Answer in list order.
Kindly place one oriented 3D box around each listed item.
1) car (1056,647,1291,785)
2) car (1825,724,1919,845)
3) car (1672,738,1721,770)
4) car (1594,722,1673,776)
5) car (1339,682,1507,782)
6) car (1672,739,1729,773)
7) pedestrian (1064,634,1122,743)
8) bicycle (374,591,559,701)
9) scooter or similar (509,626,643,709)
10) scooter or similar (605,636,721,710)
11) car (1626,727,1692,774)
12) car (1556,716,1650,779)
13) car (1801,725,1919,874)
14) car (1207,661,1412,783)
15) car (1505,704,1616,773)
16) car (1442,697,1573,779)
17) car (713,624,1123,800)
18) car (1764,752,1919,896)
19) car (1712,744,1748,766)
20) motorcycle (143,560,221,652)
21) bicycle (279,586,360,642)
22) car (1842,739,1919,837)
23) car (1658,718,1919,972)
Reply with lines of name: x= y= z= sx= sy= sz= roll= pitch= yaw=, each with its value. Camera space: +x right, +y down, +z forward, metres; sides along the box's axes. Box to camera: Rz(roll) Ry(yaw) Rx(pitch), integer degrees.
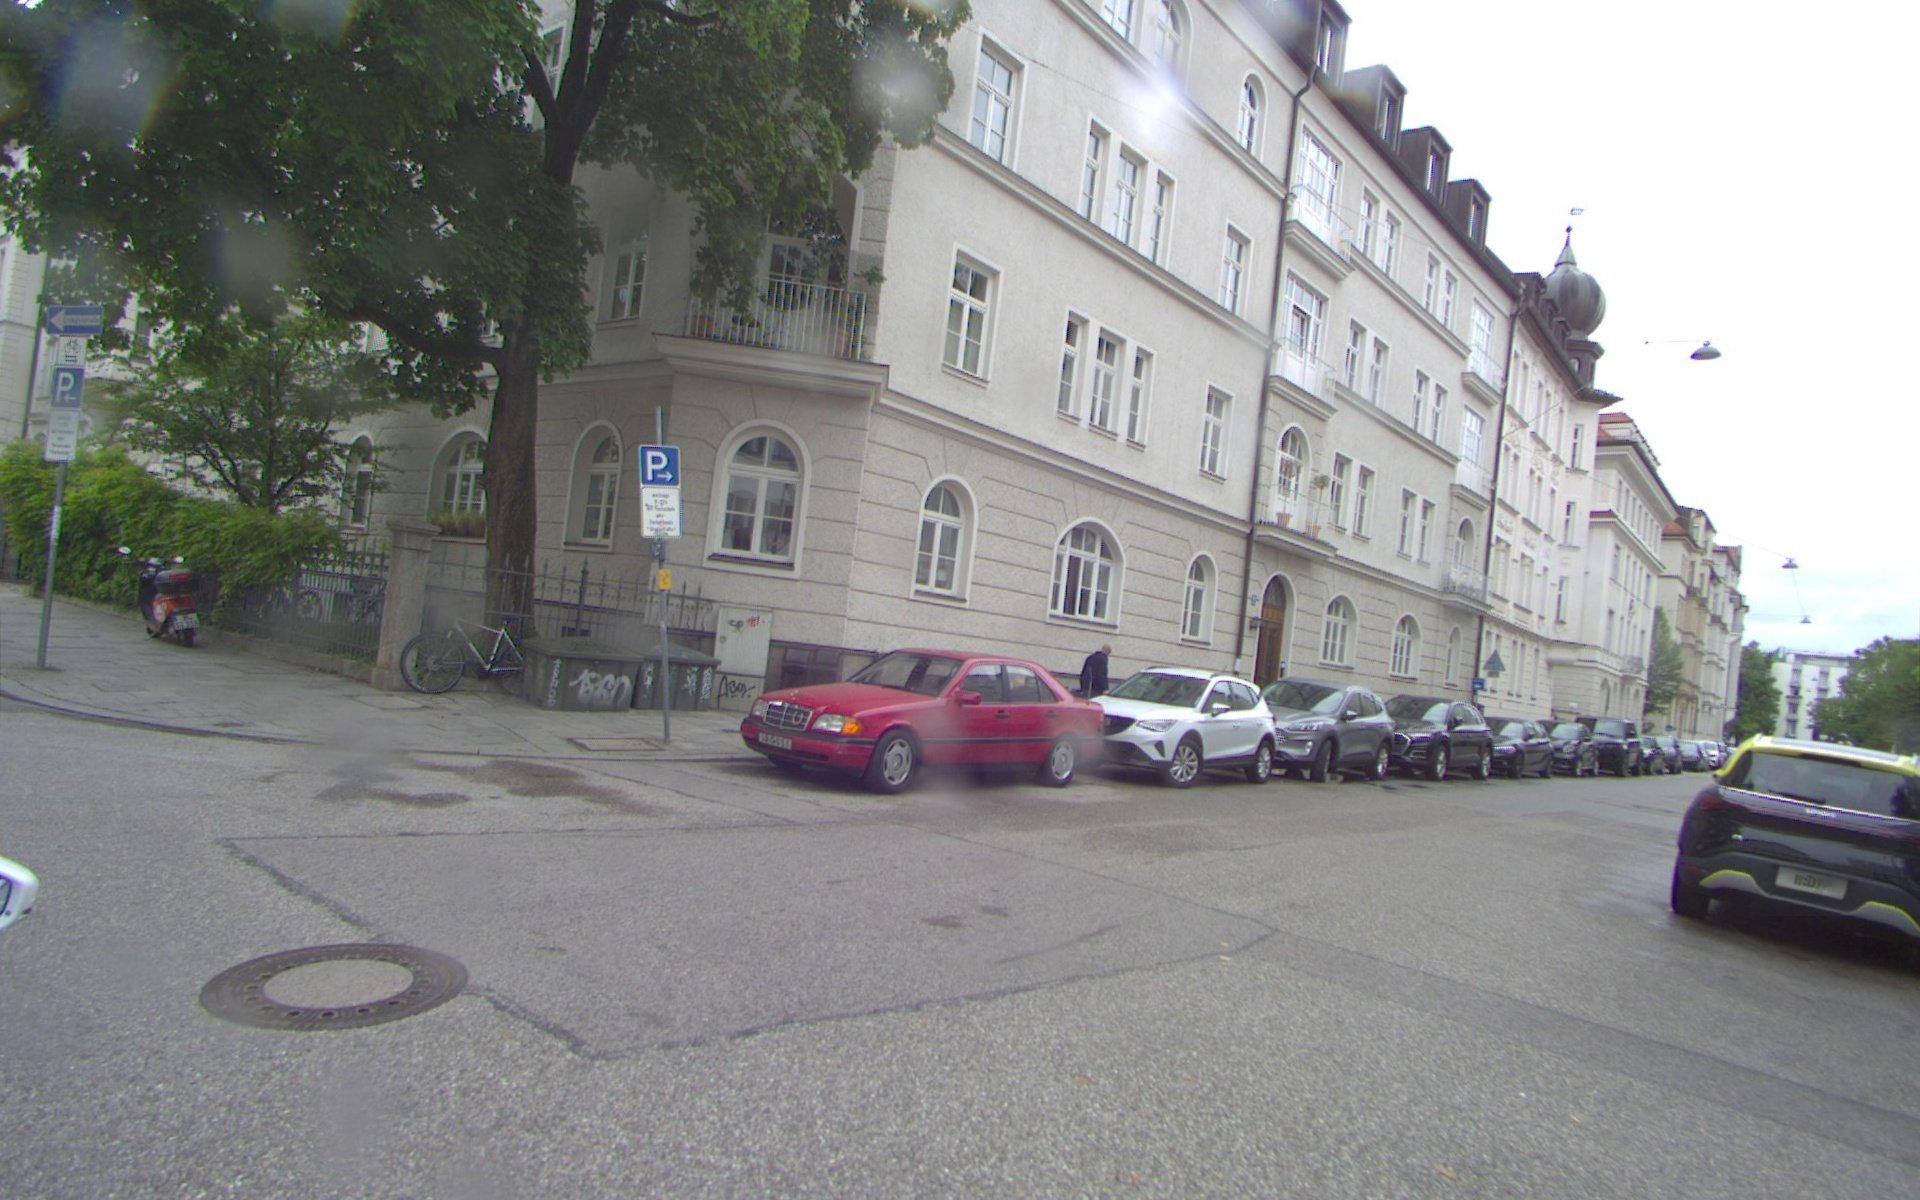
car: x=3.137 y=1.647 z=14.222 sx=1.543 sy=1.538 sz=3.886 roll=5 pitch=-3 yaw=39
car: x=17.948 y=3.531 z=19.268 sx=1.709 sy=1.957 sz=3.641 roll=5 pitch=-4 yaw=45
car: x=42.452 y=8.857 z=57.962 sx=1.971 sy=1.526 sz=3.987 roll=5 pitch=-3 yaw=39
car: x=25.404 y=5.602 z=37.902 sx=1.831 sy=1.676 sz=3.915 roll=5 pitch=-4 yaw=42
car: x=9.877 y=2.804 z=21.302 sx=1.865 sy=1.683 sz=4.272 roll=5 pitch=-3 yaw=43
car: x=36.659 y=7.740 z=49.771 sx=1.787 sy=1.362 sz=3.531 roll=5 pitch=-4 yaw=43
pedestrian: x=2.436 y=1.623 z=18.468 sx=0.730 sy=1.897 sz=0.495 roll=6 pitch=-2 yaw=30
bicycle: x=-5.940 y=0.586 z=12.200 sx=0.555 sy=1.137 sz=1.834 roll=6 pitch=-2 yaw=44
scooter or similar: x=-4.717 y=0.836 z=12.379 sx=0.912 sy=0.858 sz=1.181 roll=5 pitch=-3 yaw=44
scooter or similar: x=-3.942 y=0.974 z=13.391 sx=0.687 sy=0.835 sz=1.236 roll=5 pitch=-3 yaw=43
car: x=29.149 y=6.270 z=41.932 sx=1.641 sy=1.612 sz=3.728 roll=5 pitch=-3 yaw=43
car: x=21.253 y=4.876 z=33.202 sx=1.808 sy=1.689 sz=4.039 roll=5 pitch=-4 yaw=43
car: x=15.159 y=3.223 z=16.420 sx=1.752 sy=1.991 sz=3.912 roll=5 pitch=-4 yaw=45
car: x=6.344 y=2.173 z=17.979 sx=1.729 sy=1.732 sz=4.321 roll=6 pitch=-2 yaw=43
car: x=17.930 y=4.151 z=29.959 sx=1.865 sy=1.682 sz=4.273 roll=5 pitch=-4 yaw=43
car: x=13.975 y=3.505 z=25.569 sx=1.864 sy=1.683 sz=4.274 roll=5 pitch=-3 yaw=42
car: x=-0.234 y=1.216 z=10.894 sx=1.736 sy=1.373 sz=4.463 roll=5 pitch=-2 yaw=41
car: x=12.012 y=2.892 z=13.316 sx=3.522 sy=1.441 sz=1.680 roll=10 pitch=-4 yaw=-45
car: x=56.127 y=11.269 z=73.309 sx=1.971 sy=1.292 sz=3.987 roll=5 pitch=-4 yaw=39
motorcycle: x=-10.366 y=0.066 z=13.397 sx=1.382 sy=1.102 sz=0.362 roll=5 pitch=-2 yaw=37
bicycle: x=-11.828 y=0.249 z=18.542 sx=2.240 sy=0.821 sz=0.491 roll=5 pitch=-3 yaw=39
car: x=20.874 y=4.171 z=22.330 sx=1.720 sy=1.833 sz=3.982 roll=5 pitch=-4 yaw=43
car: x=7.932 y=2.076 z=9.086 sx=4.066 sy=1.615 sz=1.882 roll=10 pitch=-4 yaw=-45
